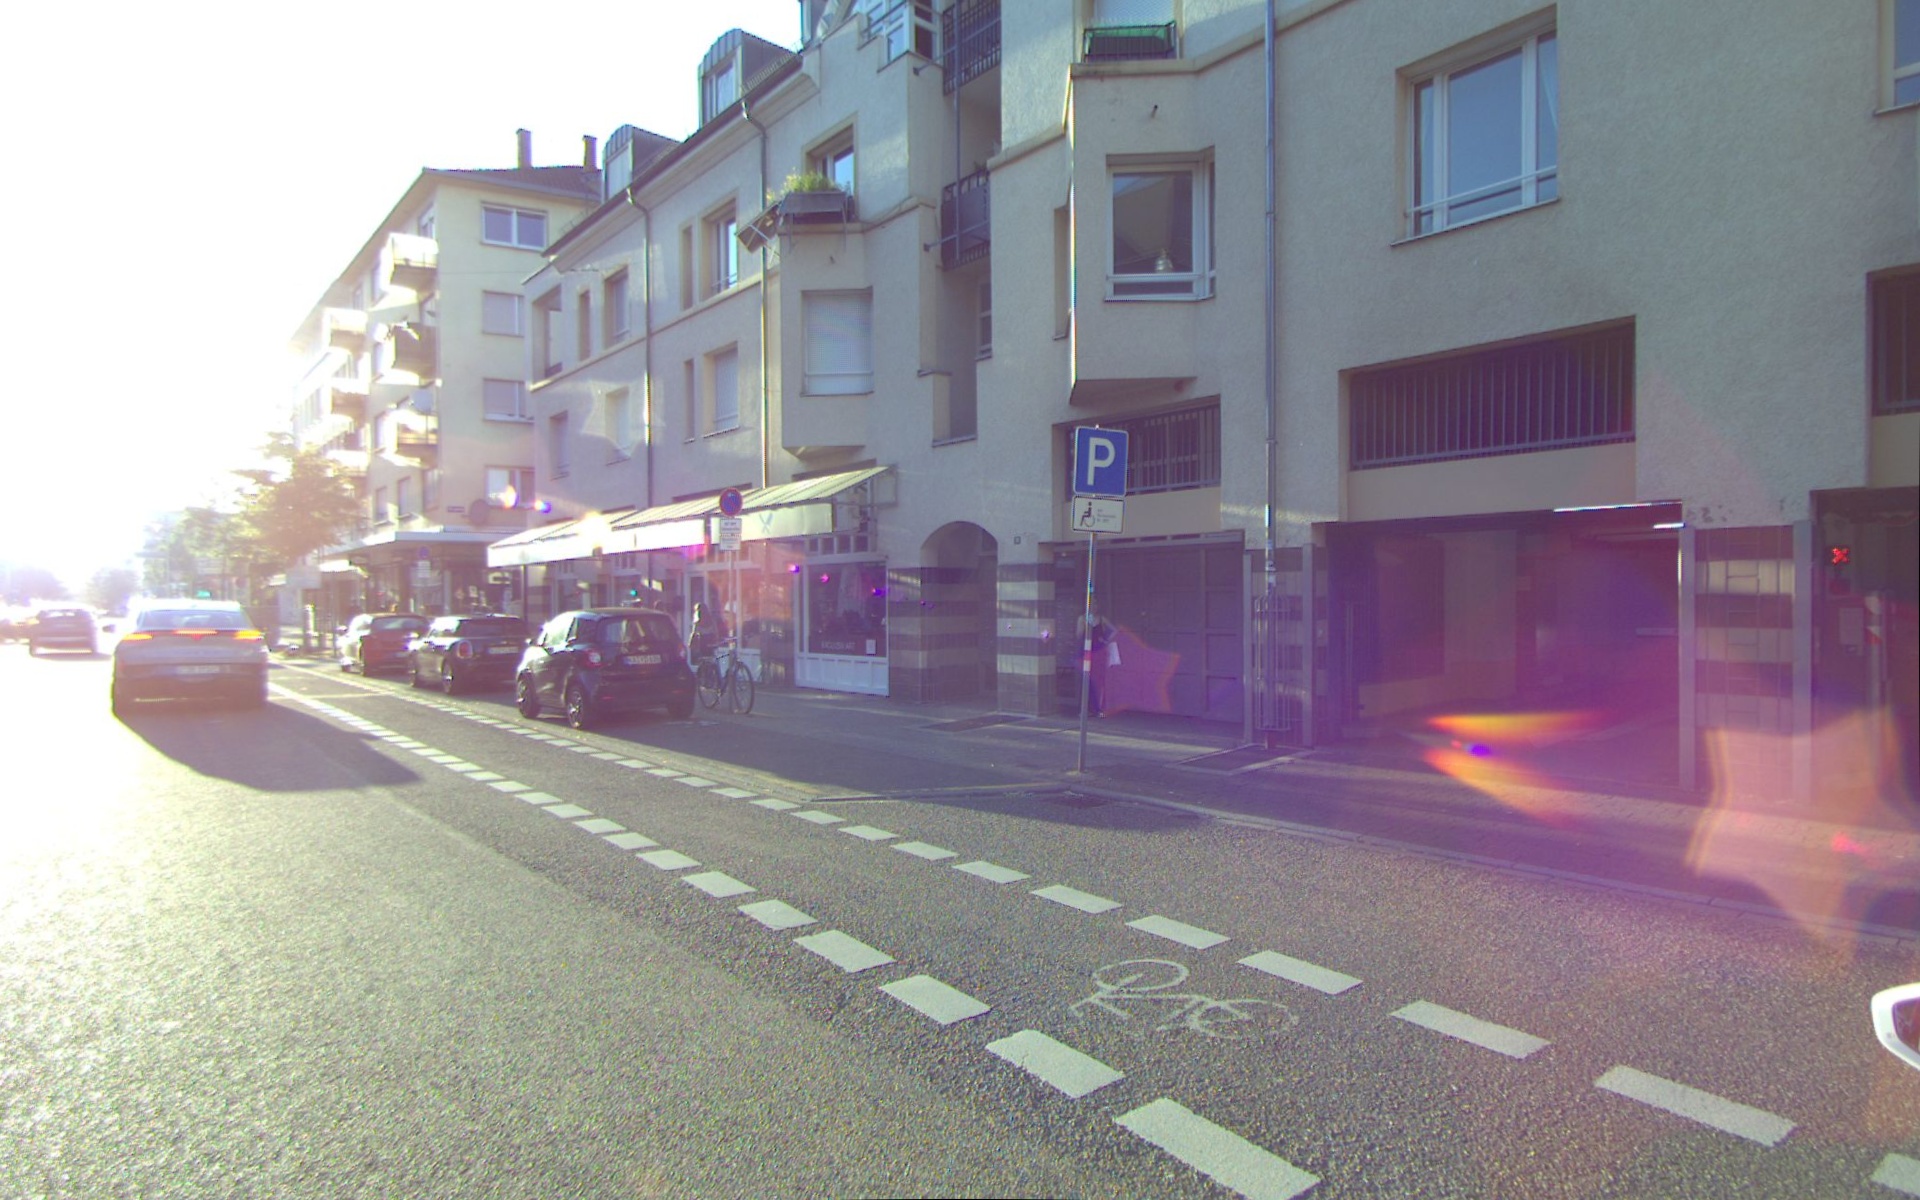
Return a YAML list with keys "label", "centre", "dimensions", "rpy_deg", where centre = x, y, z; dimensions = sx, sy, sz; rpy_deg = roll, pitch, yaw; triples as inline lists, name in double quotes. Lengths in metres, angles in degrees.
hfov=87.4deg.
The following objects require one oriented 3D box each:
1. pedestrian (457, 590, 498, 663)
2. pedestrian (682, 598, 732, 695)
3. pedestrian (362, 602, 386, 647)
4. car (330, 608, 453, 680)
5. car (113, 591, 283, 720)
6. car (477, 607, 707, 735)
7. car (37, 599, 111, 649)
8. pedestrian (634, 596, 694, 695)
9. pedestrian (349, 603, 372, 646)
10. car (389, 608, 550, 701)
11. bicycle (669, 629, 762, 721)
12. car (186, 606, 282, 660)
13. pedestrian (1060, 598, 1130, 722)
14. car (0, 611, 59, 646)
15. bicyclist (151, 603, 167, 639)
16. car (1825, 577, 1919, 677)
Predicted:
- label: "pedestrian"
  centre: [-11.893, 0.650, 24.773]
  dimensions: [0.715, 1.757, 0.729]
  rpy_deg: [-1, 1, -42]
- label: "pedestrian"
  centre: [-4.646, 0.831, 18.435]
  dimensions: [0.557, 1.723, 0.821]
  rpy_deg: [-1, 0, -42]
- label: "pedestrian"
  centre: [-24.074, 0.988, 41.295]
  dimensions: [0.714, 1.815, 0.659]
  rpy_deg: [-1, 1, -41]
- label: "car"
  centre: [-13.937, 0.998, 24.540]
  dimensions: [1.782, 1.601, 3.738]
  rpy_deg: [0, 0, -43]
- label: "car"
  centre: [-11.963, 0.780, 15.717]
  dimensions: [1.863, 1.720, 4.272]
  rpy_deg: [2, -1, -39]
- label: "car"
  centre: [-5.484, 0.905, 14.712]
  dimensions: [1.782, 1.601, 3.916]
  rpy_deg: [0, 0, -43]
- label: "car"
  centre: [-31.353, 0.830, 35.499]
  dimensions: [1.831, 1.670, 4.246]
  rpy_deg: [2, -2, -43]
- label: "pedestrian"
  centre: [-5.340, 0.797, 18.104]
  dimensions: [0.627, 1.723, 1.027]
  rpy_deg: [-1, 0, -42]
- label: "pedestrian"
  centre: [-25.547, 1.032, 42.792]
  dimensions: [0.714, 1.815, 0.659]
  rpy_deg: [-1, 1, -41]
- label: "car"
  centre: [-9.544, 0.958, 19.437]
  dimensions: [1.782, 1.601, 3.738]
  rpy_deg: [0, 0, -43]
- label: "bicycle"
  centre: [-3.642, 1.069, 14.832]
  dimensions: [0.555, 1.222, 1.955]
  rpy_deg: [0, 0, -39]
- label: "car"
  centre: [-23.258, 1.010, 32.118]
  dimensions: [1.986, 1.626, 4.349]
  rpy_deg: [1, -1, -42]
- label: "pedestrian"
  centre: [1.776, 0.775, 13.246]
  dimensions: [0.765, 1.593, 0.532]
  rpy_deg: [0, 0, -14]
- label: "car"
  centre: [-46.665, 1.407, 50.024]
  dimensions: [4.231, 1.670, 1.837]
  rpy_deg: [0, -1, 37]
- label: "bicyclist"
  centre: [-35.795, 0.927, 44.889]
  dimensions: [0.544, 1.602, 0.794]
  rpy_deg: [-1, 0, -39]
- label: "car"
  centre: [16.731, 0.470, 17.515]
  dimensions: [4.215, 1.593, 1.799]
  rpy_deg: [1, -2, -39]
